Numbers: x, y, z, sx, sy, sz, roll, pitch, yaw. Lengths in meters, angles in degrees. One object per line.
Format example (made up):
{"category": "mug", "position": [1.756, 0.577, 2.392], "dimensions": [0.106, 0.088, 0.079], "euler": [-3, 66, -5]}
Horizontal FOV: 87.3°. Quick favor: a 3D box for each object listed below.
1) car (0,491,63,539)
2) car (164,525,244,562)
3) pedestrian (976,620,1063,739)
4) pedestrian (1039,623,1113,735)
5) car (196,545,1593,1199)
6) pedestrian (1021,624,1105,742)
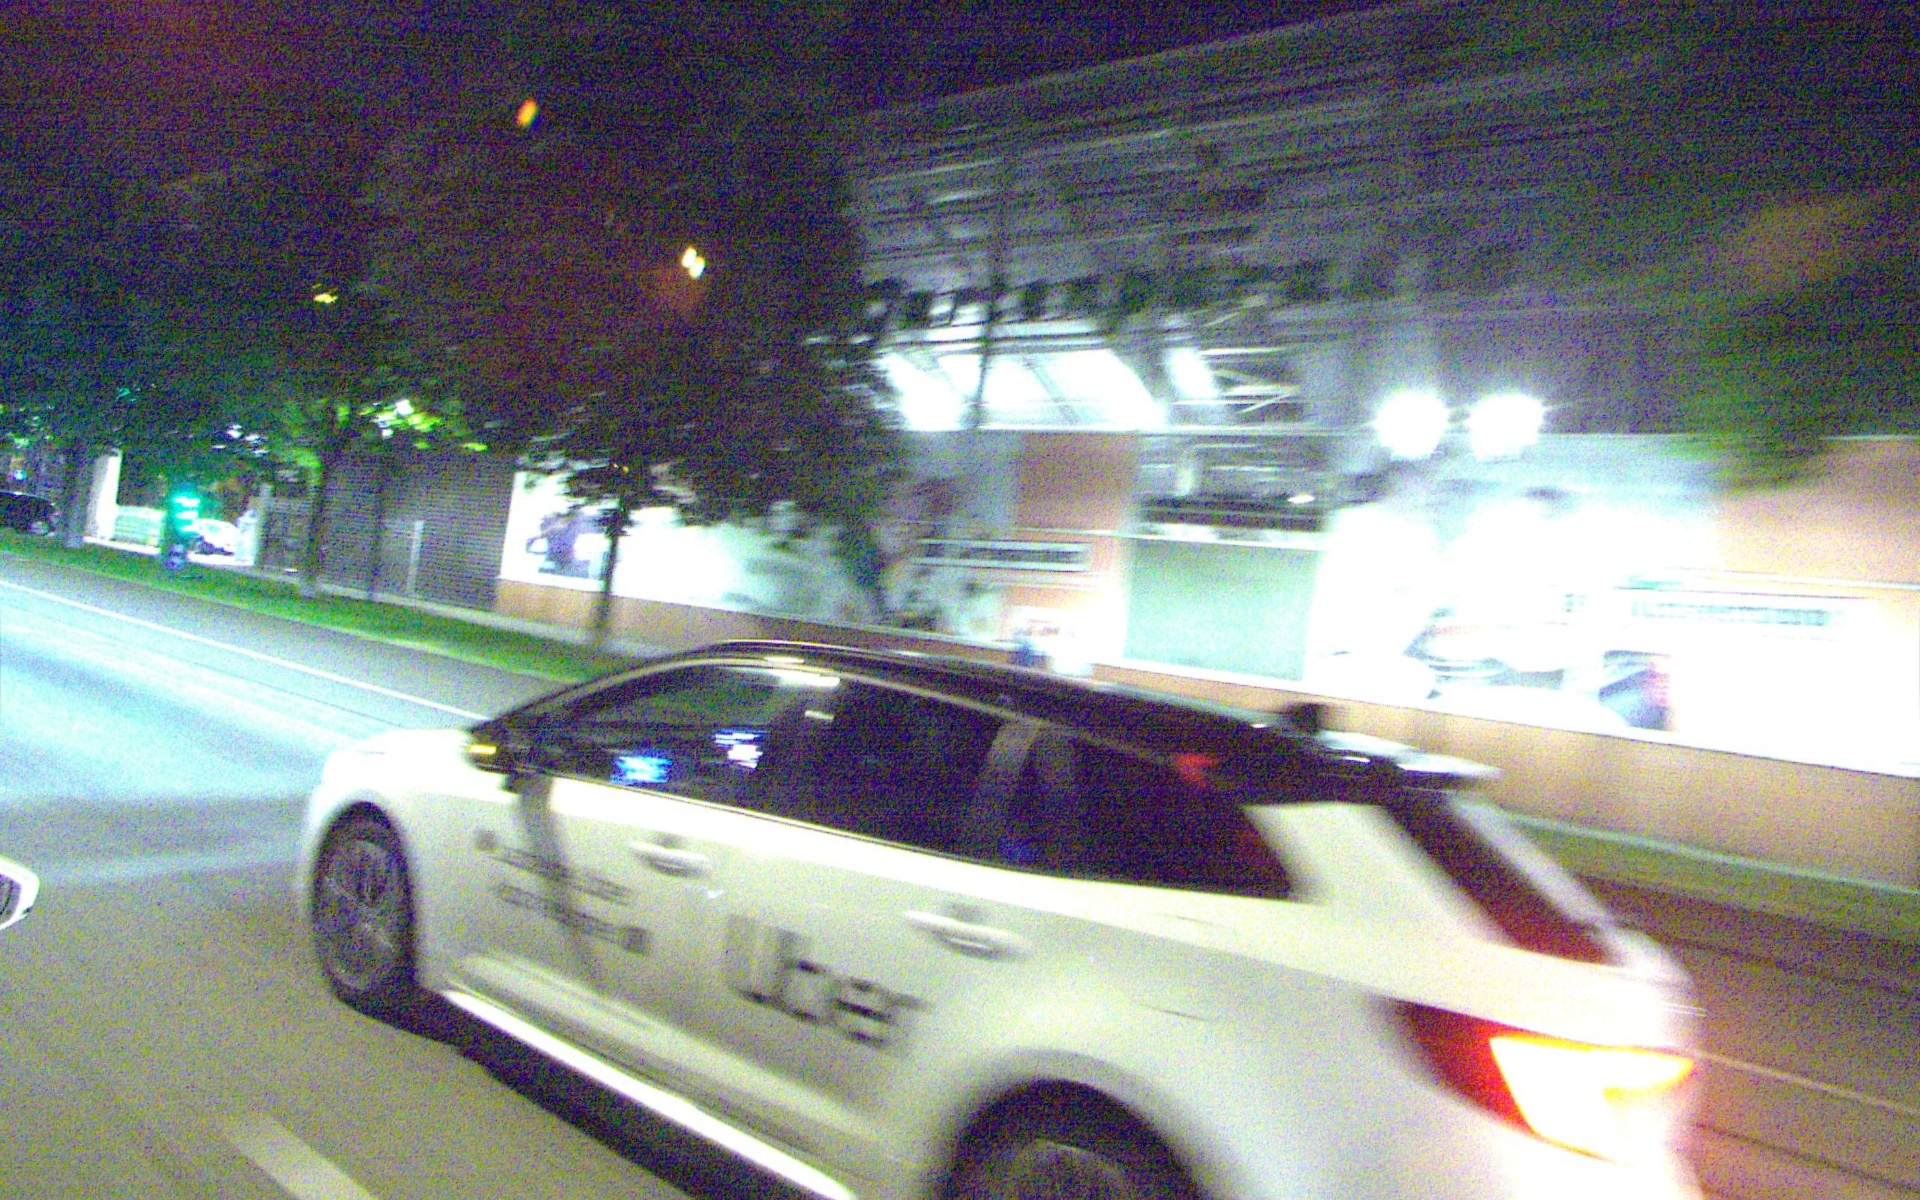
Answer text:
{"category": "car", "position": [-34.593, -3.211, 35.418], "dimensions": [1.757, 1.471, 4.089], "euler": [7, -2, 31]}
{"category": "car", "position": [-32.211, -2.407, 42.823], "dimensions": [3.481, 1.181, 1.460], "euler": [6, -2, 32]}
{"category": "pedestrian", "position": [0.952, 1.269, 16.133], "dimensions": [0.969, 1.737, 0.736], "euler": [7, 0, 32]}
{"category": "pedestrian", "position": [2.067, 1.402, 17.857], "dimensions": [0.891, 1.838, 0.675], "euler": [7, 0, 32]}
{"category": "car", "position": [-0.546, 0.821, 3.435], "dimensions": [4.424, 1.446, 1.728], "euler": [7, -3, 32]}
{"category": "pedestrian", "position": [1.714, 1.369, 16.669], "dimensions": [0.954, 1.810, 0.720], "euler": [7, 0, 32]}
